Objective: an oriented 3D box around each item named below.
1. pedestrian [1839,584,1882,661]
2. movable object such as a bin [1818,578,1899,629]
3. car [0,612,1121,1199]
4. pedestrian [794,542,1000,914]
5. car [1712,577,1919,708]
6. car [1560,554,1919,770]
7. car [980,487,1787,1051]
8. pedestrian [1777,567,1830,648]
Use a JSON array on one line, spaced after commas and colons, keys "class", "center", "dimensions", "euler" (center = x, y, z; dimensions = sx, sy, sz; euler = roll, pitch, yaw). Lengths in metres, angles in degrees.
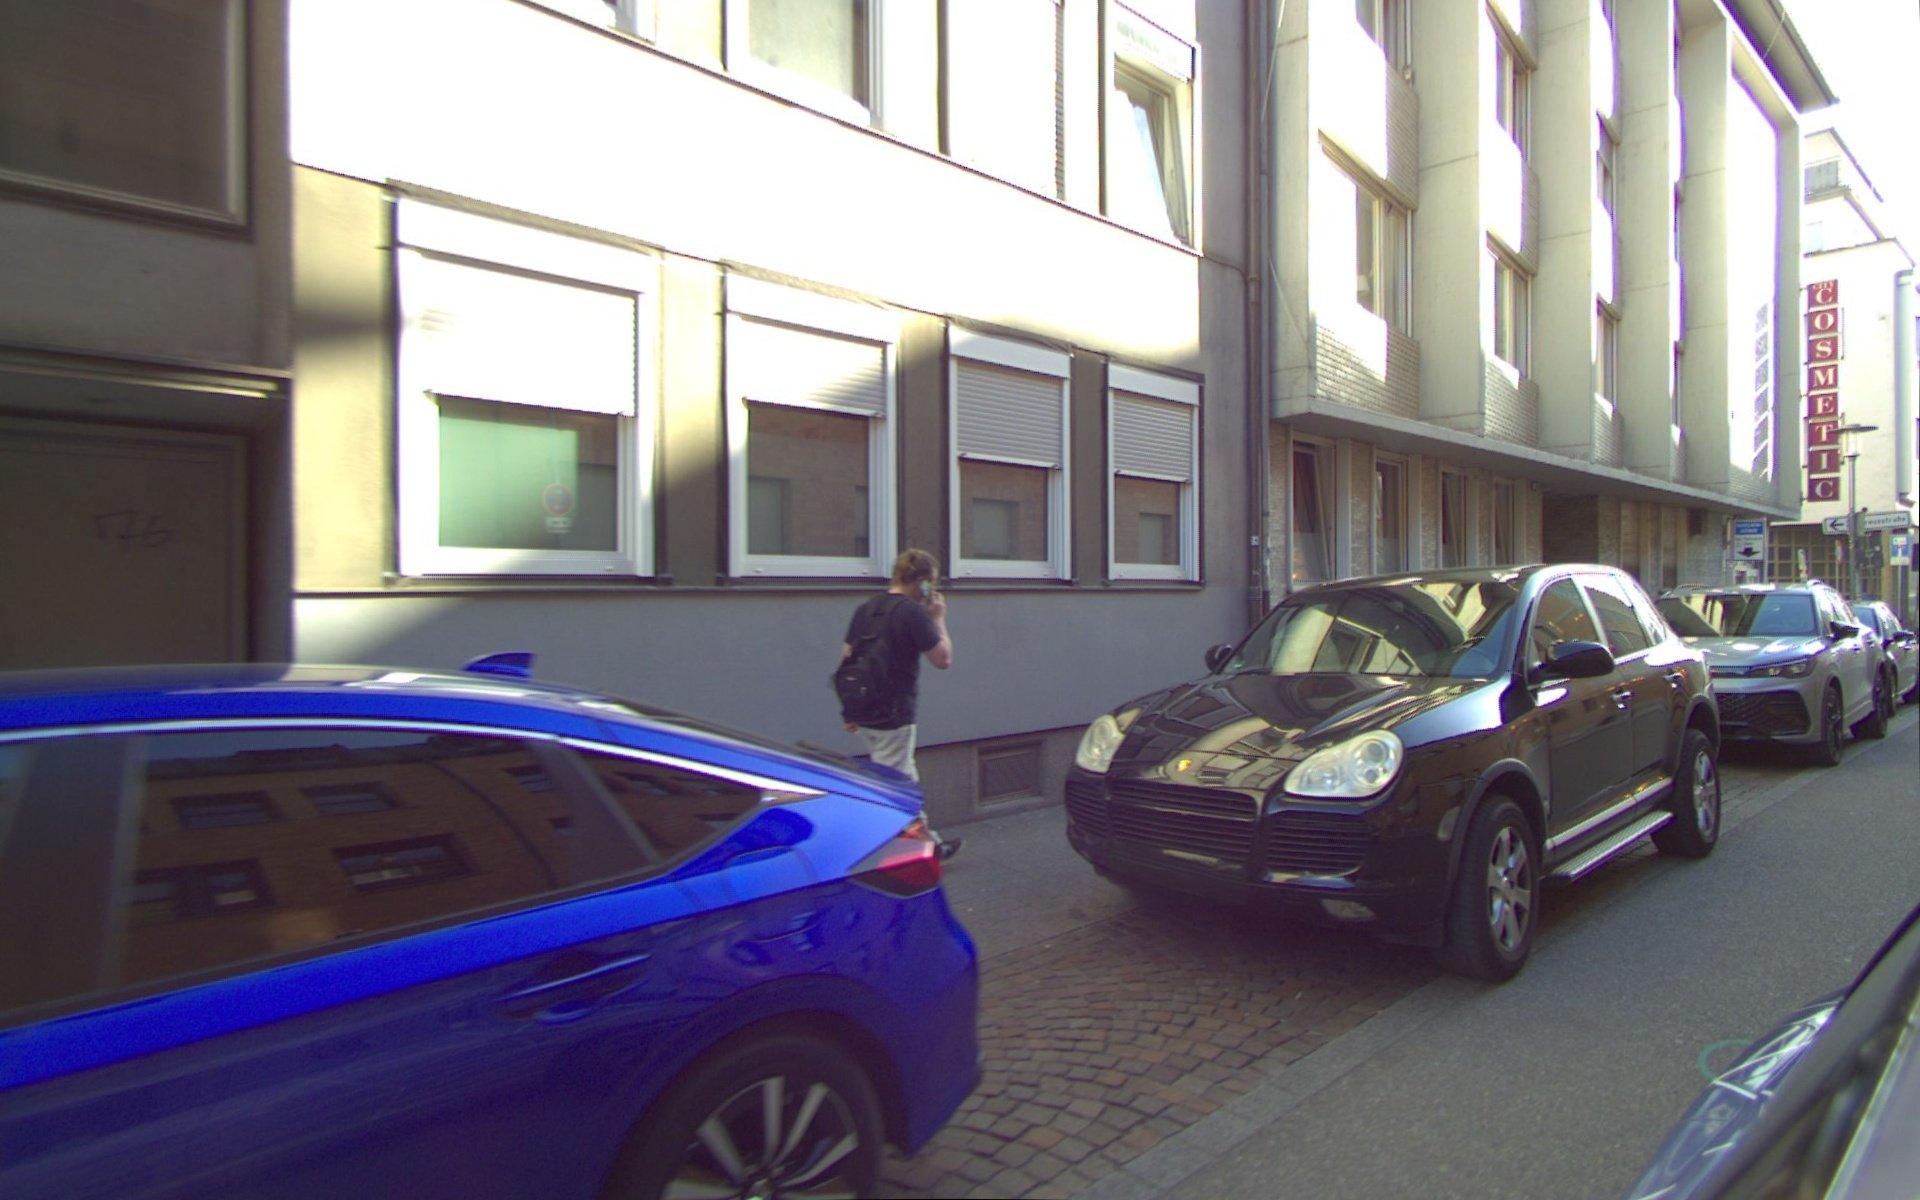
[{"class": "pedestrian", "center": [18.703, 0.450, 21.035], "dimensions": [0.570, 1.560, 0.436], "euler": [2, 2, 34]}, {"class": "movable object such as a bin", "center": [27.394, 0.104, 30.888], "dimensions": [1.411, 1.481, 1.126], "euler": [-1, 0, 9]}, {"class": "car", "center": [-1.945, 0.822, 1.741], "dimensions": [4.708, 1.431, 1.809], "euler": [-1, -2, -42]}, {"class": "pedestrian", "center": [-0.336, 0.583, 5.273], "dimensions": [0.733, 1.742, 0.790], "euler": [-1, 2, -41]}, {"class": "car", "center": [12.173, 0.510, 13.957], "dimensions": [4.518, 1.524, 1.826], "euler": [-1, -3, -40]}, {"class": "car", "center": [8.199, 0.497, 10.413], "dimensions": [4.758, 1.724, 1.996], "euler": [-1, -2, -41]}, {"class": "car", "center": [2.681, 0.525, 5.673], "dimensions": [4.962, 1.808, 2.107], "euler": [-1, -1, -40]}, {"class": "pedestrian", "center": [18.576, 0.160, 22.300], "dimensions": [0.611, 1.758, 0.626], "euler": [-1, 0, 4]}]
